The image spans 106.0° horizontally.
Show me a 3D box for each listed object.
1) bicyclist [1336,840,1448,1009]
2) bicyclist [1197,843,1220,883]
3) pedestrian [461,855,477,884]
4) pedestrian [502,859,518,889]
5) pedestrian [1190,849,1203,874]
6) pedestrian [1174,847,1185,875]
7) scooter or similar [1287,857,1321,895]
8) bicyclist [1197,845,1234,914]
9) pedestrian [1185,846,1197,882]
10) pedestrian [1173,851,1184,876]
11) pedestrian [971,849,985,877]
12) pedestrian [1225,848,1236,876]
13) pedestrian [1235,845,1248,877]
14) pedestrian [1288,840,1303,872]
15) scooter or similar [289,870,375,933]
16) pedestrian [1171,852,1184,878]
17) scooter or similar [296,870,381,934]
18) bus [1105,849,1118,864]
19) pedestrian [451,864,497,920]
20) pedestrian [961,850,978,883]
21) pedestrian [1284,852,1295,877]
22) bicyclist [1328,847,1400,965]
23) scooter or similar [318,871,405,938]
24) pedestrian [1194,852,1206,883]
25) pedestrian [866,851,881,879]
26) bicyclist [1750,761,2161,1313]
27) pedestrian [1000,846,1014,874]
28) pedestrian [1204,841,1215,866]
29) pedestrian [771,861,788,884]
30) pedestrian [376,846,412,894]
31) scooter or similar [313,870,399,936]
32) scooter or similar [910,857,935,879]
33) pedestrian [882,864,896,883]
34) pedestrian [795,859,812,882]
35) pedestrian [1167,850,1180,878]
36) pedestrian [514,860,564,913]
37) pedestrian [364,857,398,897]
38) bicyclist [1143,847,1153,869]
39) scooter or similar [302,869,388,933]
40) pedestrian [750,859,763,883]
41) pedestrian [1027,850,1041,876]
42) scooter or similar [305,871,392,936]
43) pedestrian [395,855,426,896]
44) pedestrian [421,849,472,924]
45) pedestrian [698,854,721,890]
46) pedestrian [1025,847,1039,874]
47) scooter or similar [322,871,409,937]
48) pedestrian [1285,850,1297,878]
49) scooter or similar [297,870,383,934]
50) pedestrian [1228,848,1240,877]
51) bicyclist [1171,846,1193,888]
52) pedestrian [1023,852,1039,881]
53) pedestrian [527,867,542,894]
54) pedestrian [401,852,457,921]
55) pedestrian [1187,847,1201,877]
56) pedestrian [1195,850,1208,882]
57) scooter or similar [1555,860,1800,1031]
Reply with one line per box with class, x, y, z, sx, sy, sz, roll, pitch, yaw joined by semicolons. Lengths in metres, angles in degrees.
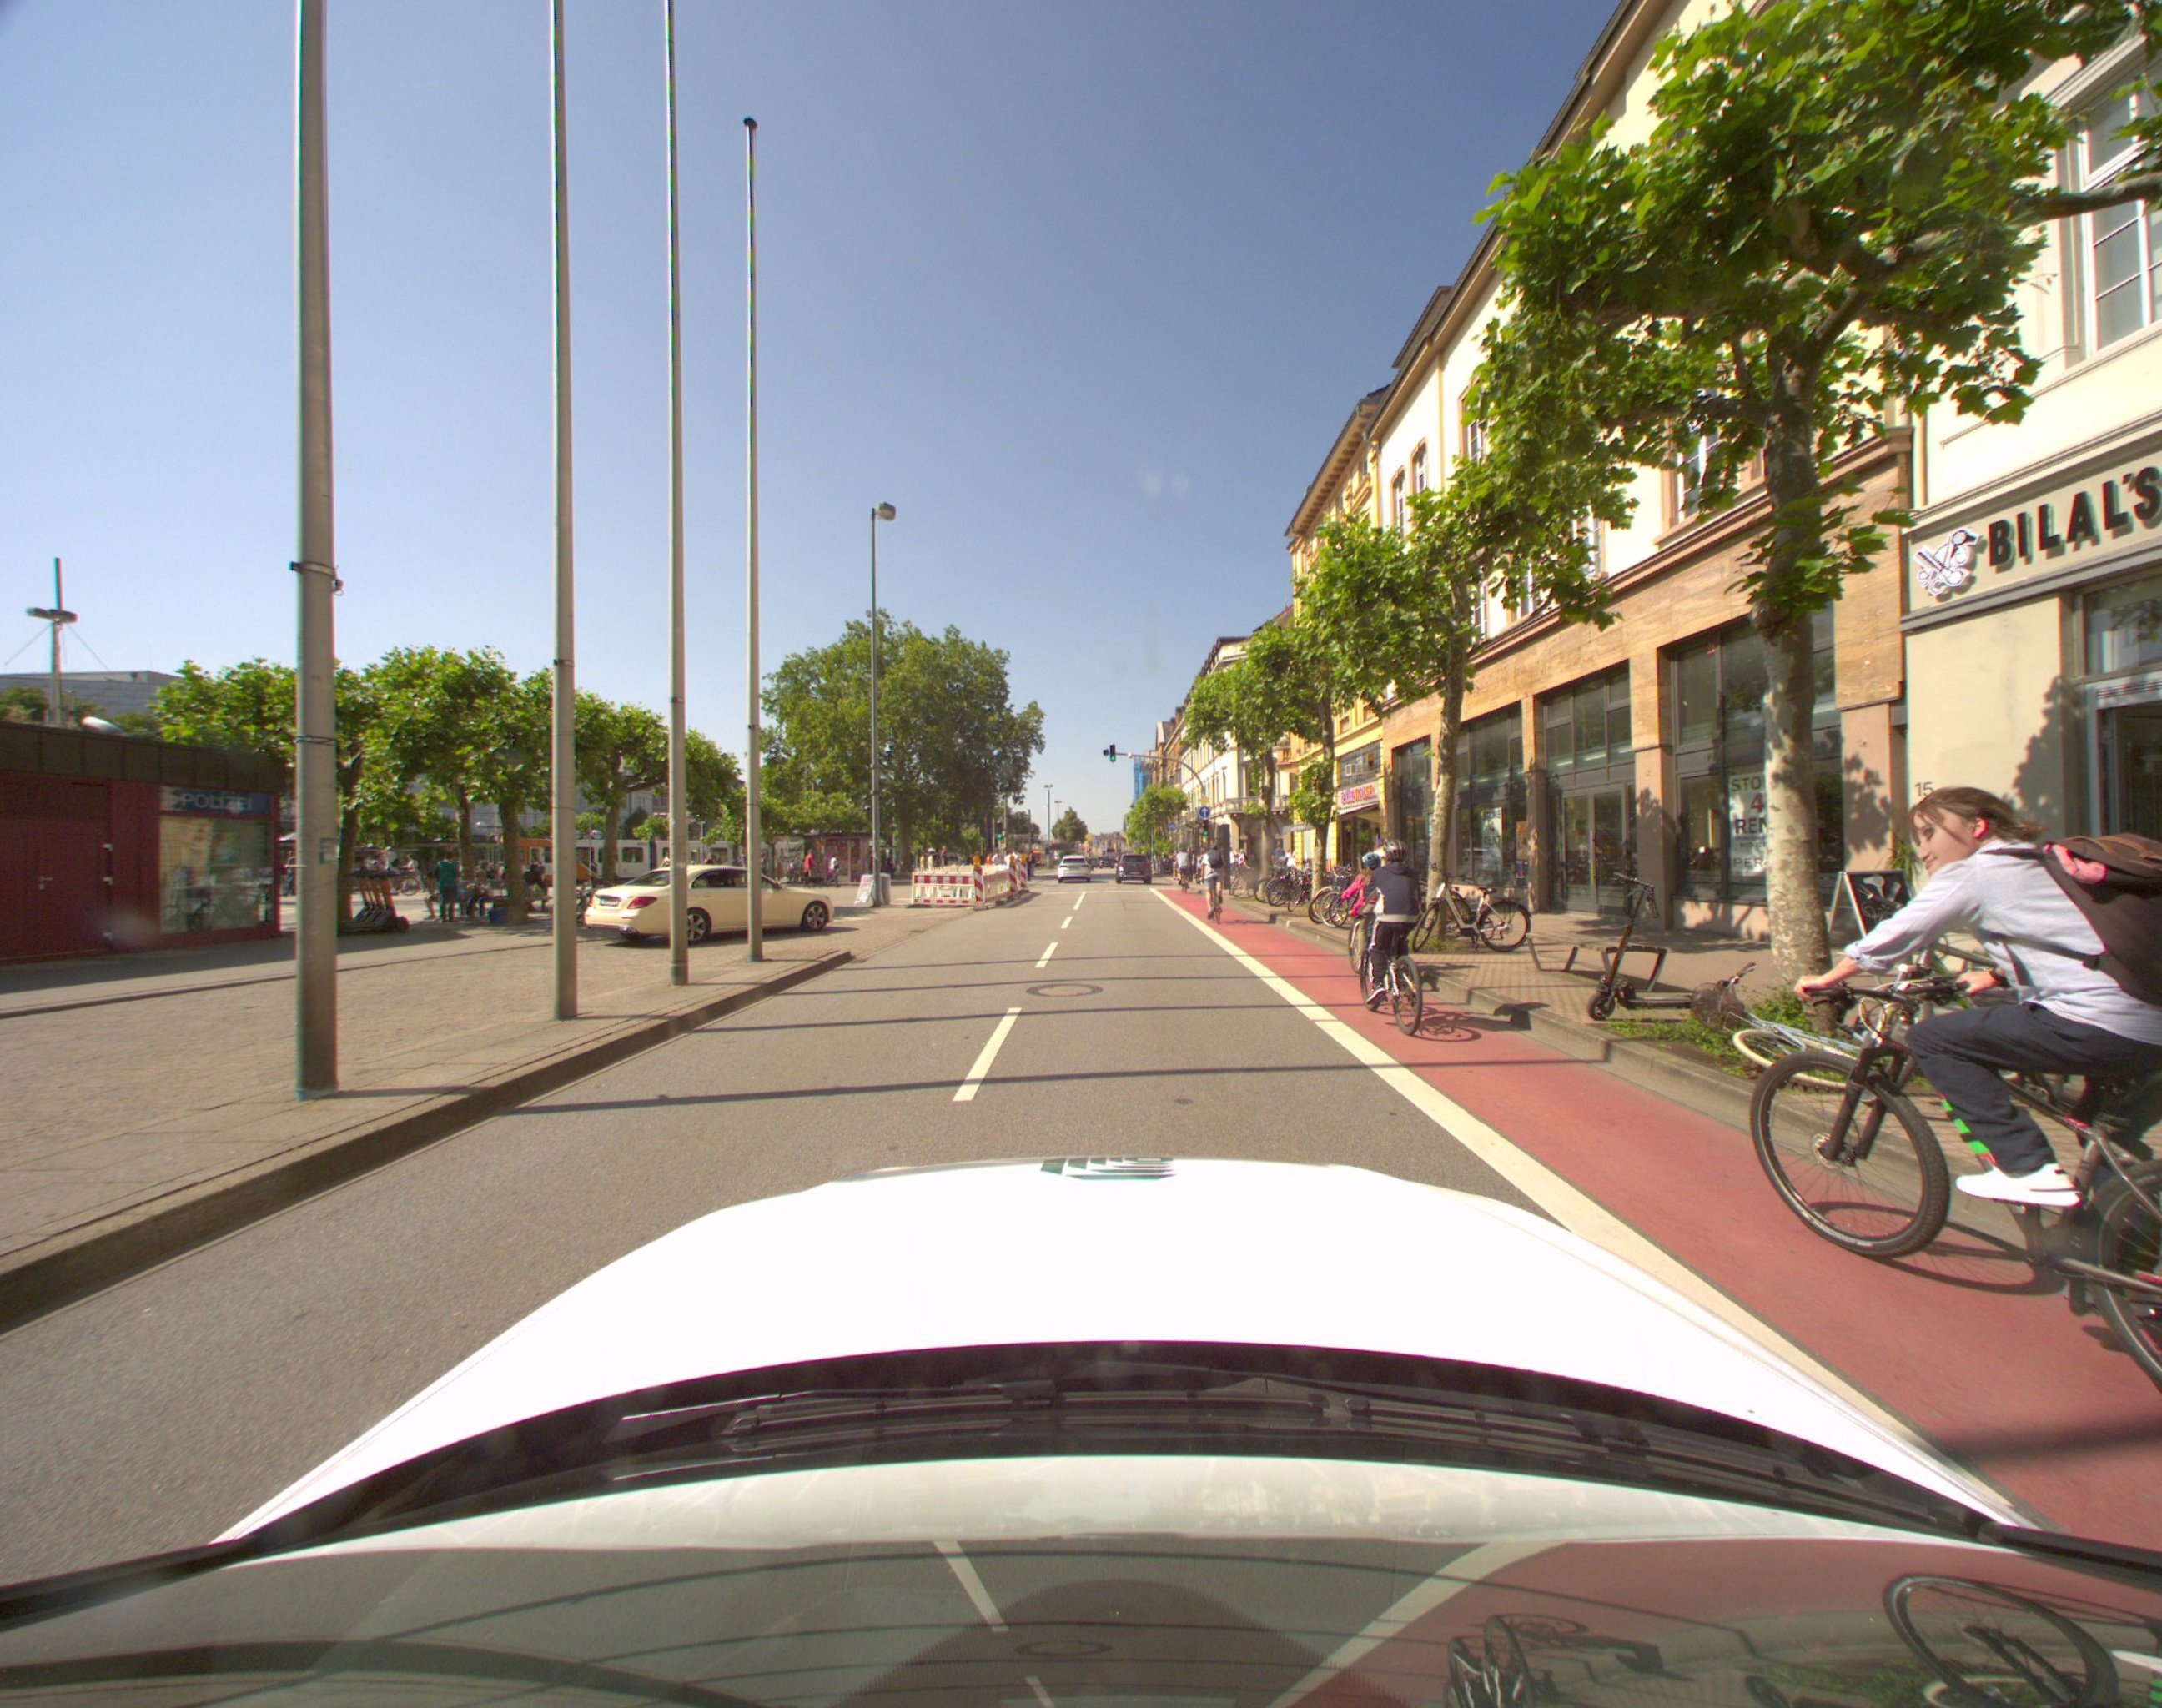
bicyclist;2.784;0.604;7.351;0.696;1.440;0.790;0;0;-2
bicyclist;5.949;0.414;38.041;0.577;1.797;0.848;-3;0;-33
pedestrian;-36.534;0.918;48.614;0.737;1.749;0.610;-1;0;40
pedestrian;-34.464;1.192;49.148;0.737;1.749;0.610;-1;0;40
pedestrian;8.157;0.515;57.614;0.613;1.705;0.672;-2;0;-26
pedestrian;6.612;0.478;54.767;0.608;1.823;0.677;-1;-1;0
scooter or similar;7.088;0.689;25.909;0.422;1.178;1.224;-1;0;-19
bicyclist;2.978;0.539;18.092;0.628;1.481;1.198;-1;0;1
pedestrian;5.842;0.542;43.358;0.520;1.898;0.642;-2;-1;5
pedestrian;6.670;0.681;55.954;0.581;1.673;0.605;-4;-1;0
pedestrian;-6.594;0.579;52.133;0.627;1.810;0.735;-1;-1;23
pedestrian;8.624;0.446;47.004;0.521;1.611;0.642;-2;-1;2
pedestrian;8.362;0.372;42.441;0.546;1.640;0.589;-2;-1;5
pedestrian;12.275;0.103;46.584;0.554;1.801;0.581;-1;-1;-43
scooter or similar;-15.364;0.957;16.732;0.262;1.214;1.310;0;0;21
pedestrian;5.798;0.657;48.890;0.608;1.515;0.677;-5;-1;0
scooter or similar;-15.132;0.953;16.625;0.231;1.214;1.310;0;0;21
bus;8.029;0.692;216.046;2.984;3.594;11.746;-1;-1;1
pedestrian;-14.486;0.893;19.455;0.672;1.309;0.683;0;0;-16
pedestrian;-6.256;0.706;45.659;0.627;1.859;0.690;-1;-1;23
pedestrian;13.569;0.678;53.003;0.538;1.633;0.677;0;-1;0
bicyclist;3.390;0.599;9.810;0.598;1.357;0.721;-1;0;-1
scooter or similar;-14.086;0.965;15.980;0.231;1.214;1.310;0;0;21
pedestrian;5.984;0.665;40.875;0.520;1.521;0.642;-2;-1;5
pedestrian;-13.913;0.737;54.577;0.627;1.810;0.618;-5;-2;21
bicyclist;2.906;0.482;2.632;0.696;1.445;0.960;0;0;-2
pedestrian;-5.008;0.432;54.936;0.626;1.859;0.735;-1;-1;31
pedestrian;9.552;-0.046;60.658;0.673;1.791;0.612;-1;-1;1
pedestrian;-16.580;1.025;44.789;0.605;1.262;0.615;-1;0;37
pedestrian;-25.845;0.611;30.658;0.800;1.799;0.605;0;-1;-5
scooter or similar;-14.292;0.945;16.094;0.231;1.214;1.310;0;0;21
scooter or similar;-10.629;0.937;54.515;1.264;1.421;1.045;-1;-1;32
pedestrian;-13.027;1.339;55.222;0.627;1.293;0.735;-1;-1;23
pedestrian;-15.629;0.925;45.829;0.605;1.262;0.615;-1;0;28
pedestrian;5.868;0.619;51.766;0.608;1.739;0.677;-5;-1;0
pedestrian;-14.542;0.862;21.867;0.667;1.381;0.900;0;0;10
pedestrian;-27.863;0.916;32.421;0.799;1.561;0.605;0;-1;-4
bicyclist;4.737;0.269;57.537;0.645;1.551;0.818;-1;0;1
scooter or similar;-14.720;0.919;16.326;0.231;1.214;1.310;0;0;21
pedestrian;-17.722;0.917;44.453;0.611;1.262;0.609;-1;0;-20
pedestrian;-3.286;0.638;56.890;0.626;1.834;0.735;-1;-1;31
scooter or similar;-14.518;0.953;16.176;0.231;1.214;1.310;0;0;21
pedestrian;-28.894;0.914;35.090;0.799;1.749;0.605;0;-1;-4
pedestrian;-14.633;0.732;18.798;0.670;1.677;0.686;0;0;-7
pedestrian;-18.379;0.873;40.266;0.598;1.749;0.809;0;-1;33
pedestrian;-3.187;0.420;53.244;0.627;1.794;0.735;-1;-1;23
scooter or similar;-13.882;0.942;15.827;0.231;1.214;1.310;0;0;21
pedestrian;13.620;0.639;52.880;0.608;1.807;0.677;-1;-1;0
scooter or similar;-14.942;0.945;16.457;0.231;1.214;1.310;0;0;21
pedestrian;8.640;0.469;45.970;0.521;1.609;0.642;-2;-1;2
bicyclist;4.006;0.499;32.438;0.771;1.635;0.851;-1;0;2
pedestrian;-2.858;0.708;46.400;0.627;1.595;0.690;-1;-1;23
pedestrian;-35.587;1.721;52.995;0.793;1.749;0.610;-1;0;40
pedestrian;-15.348;0.747;19.179;0.804;1.606;0.670;0;0;-12
pedestrian;6.963;0.498;49.999;0.608;1.759;0.677;-5;-1;0
pedestrian;6.140;0.607;41.562;0.546;1.631;0.589;-2;-1;5
scooter or similar;4.792;0.693;6.639;1.465;1.274;0.672;0;0;12
